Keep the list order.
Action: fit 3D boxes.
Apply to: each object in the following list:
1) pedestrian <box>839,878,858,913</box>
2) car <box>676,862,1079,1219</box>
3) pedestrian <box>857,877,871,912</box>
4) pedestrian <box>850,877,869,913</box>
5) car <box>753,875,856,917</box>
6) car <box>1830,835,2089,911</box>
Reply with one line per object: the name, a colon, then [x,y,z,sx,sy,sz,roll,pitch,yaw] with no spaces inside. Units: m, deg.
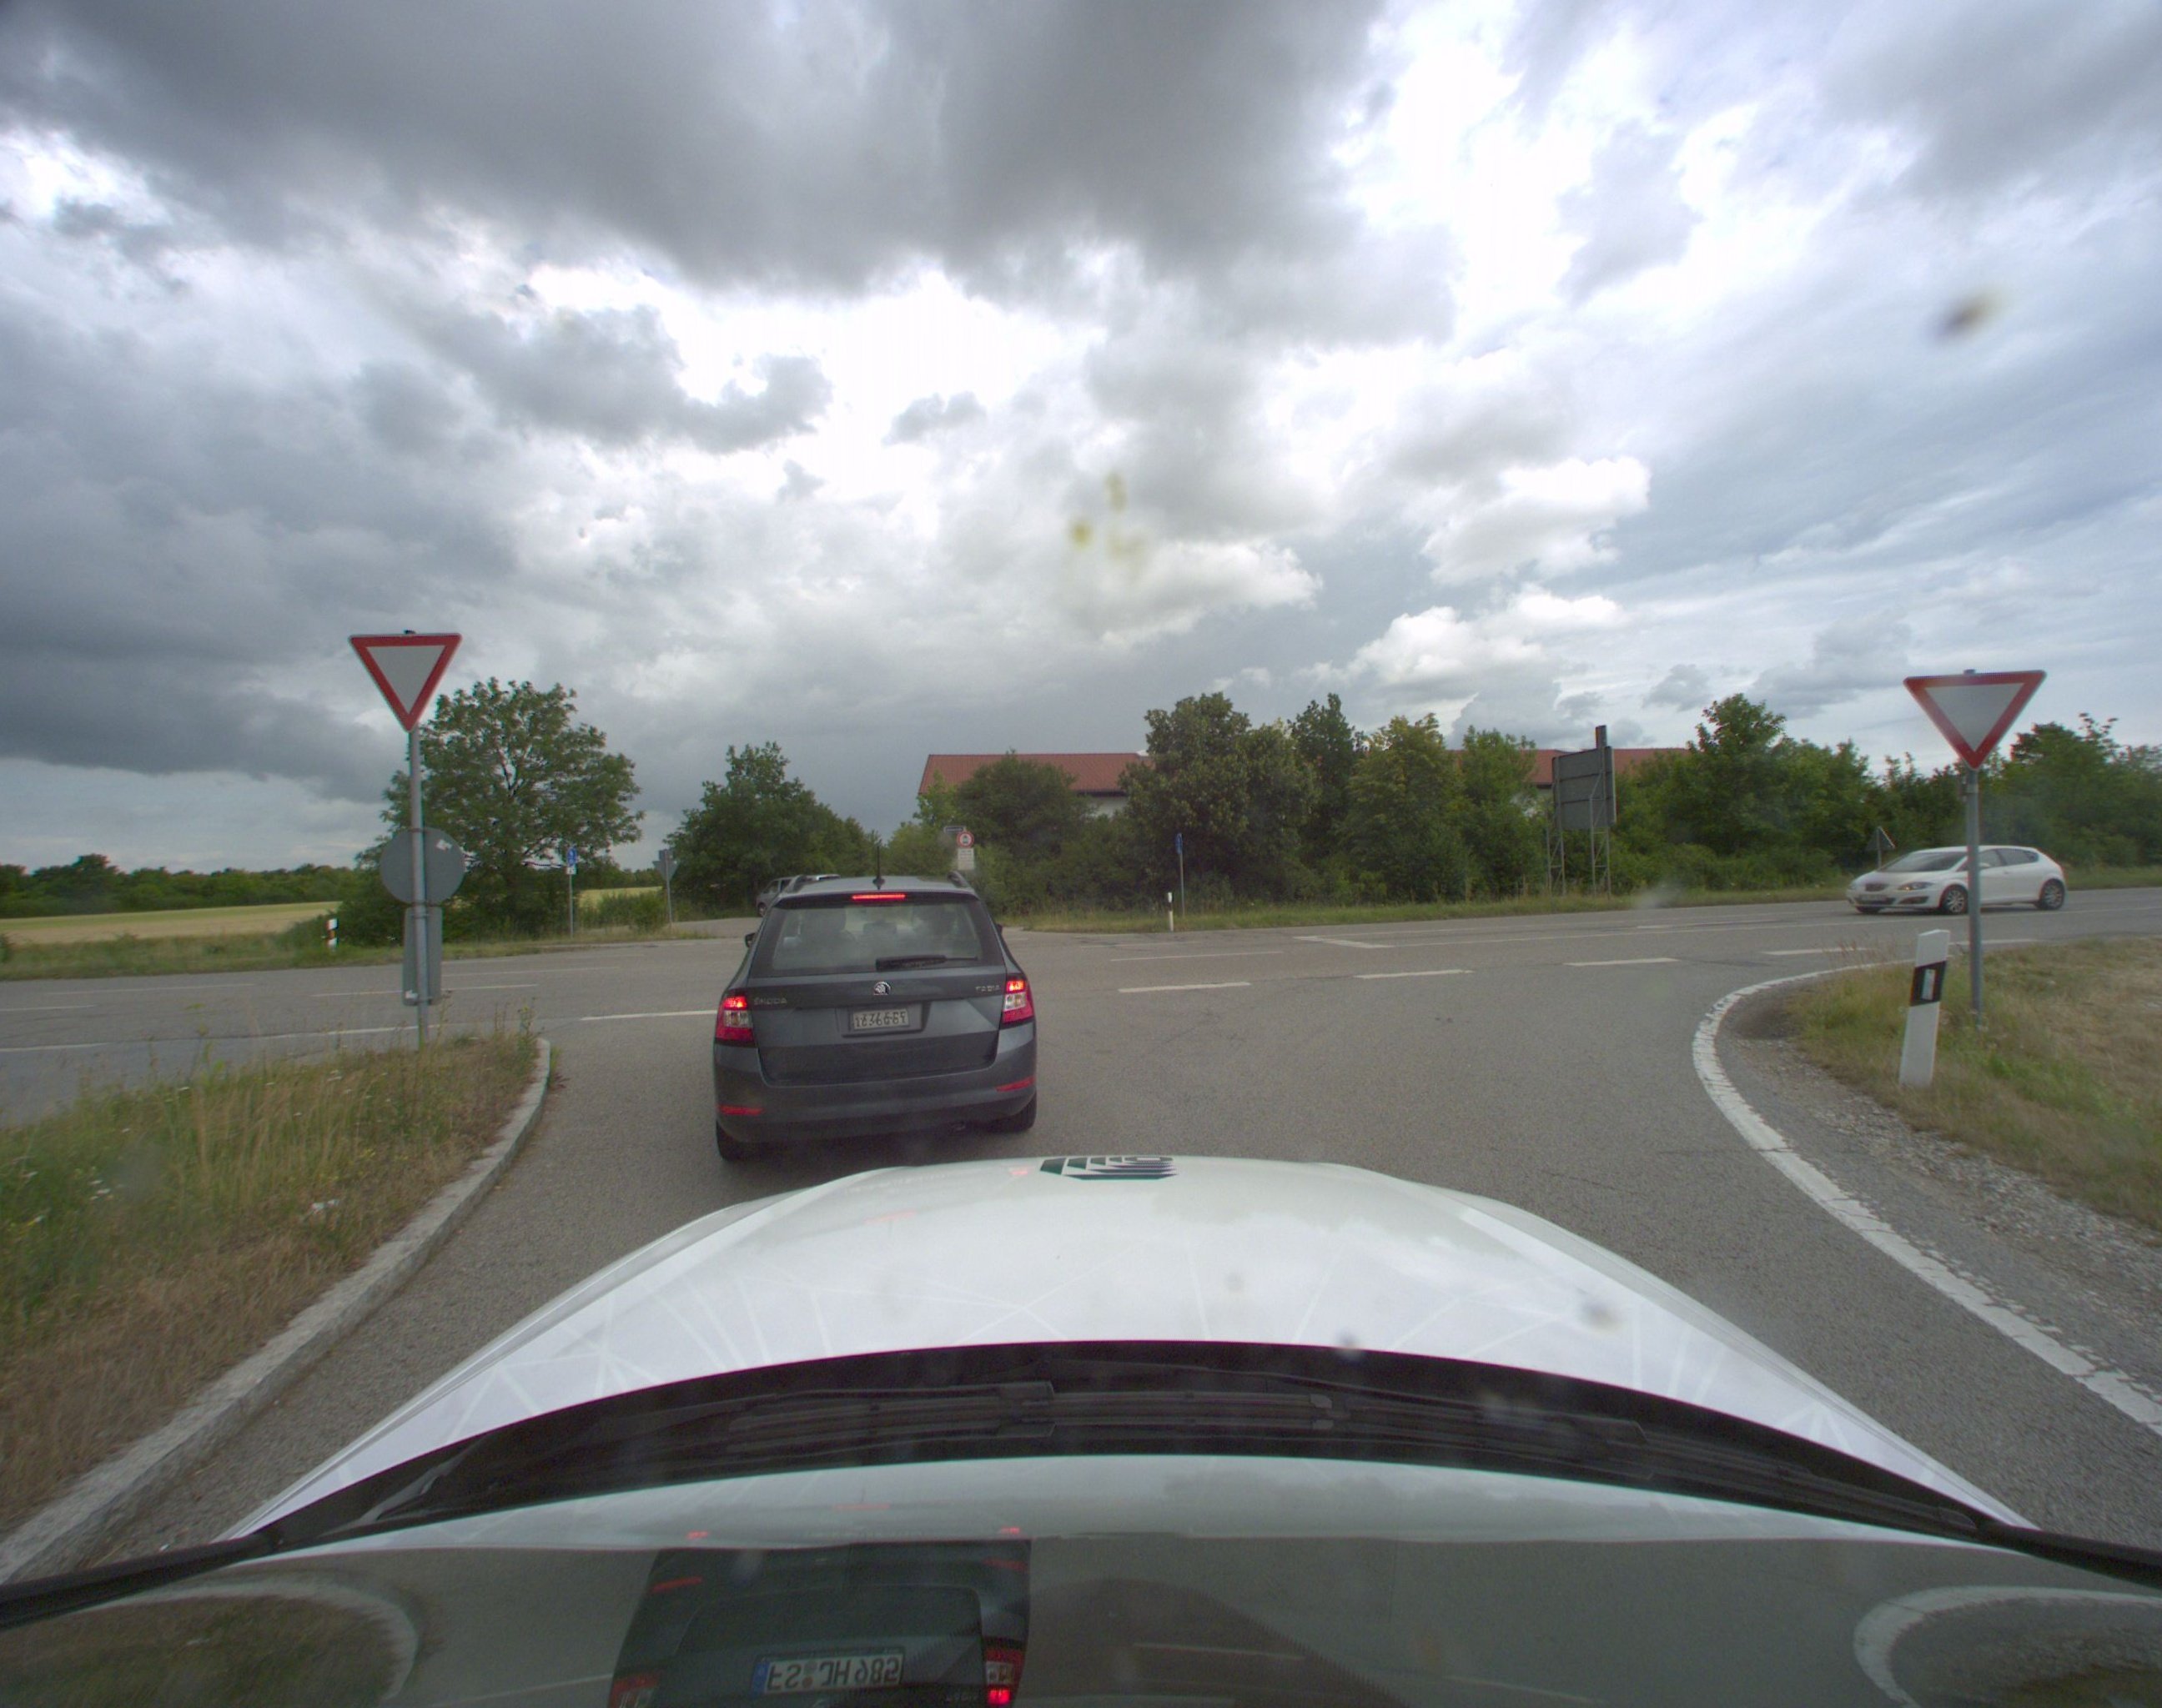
pedestrian: [-11.674,2.072,40.978,0.699,1.723,0.732,-2,-1,-1]
car: [-1.349,0.814,5.595,1.716,1.447,4.096,-1,-1,-14]
pedestrian: [-11.139,2.063,41.800,0.489,1.746,0.642,-2,-1,-4]
pedestrian: [-10.918,2.023,40.193,0.722,1.723,0.791,-2,-1,-4]
car: [-13.850,2.108,40.661,5.034,1.886,2.126,-3,-1,33]
car: [19.429,0.422,18.082,4.299,1.408,1.814,-3,-2,-10]
